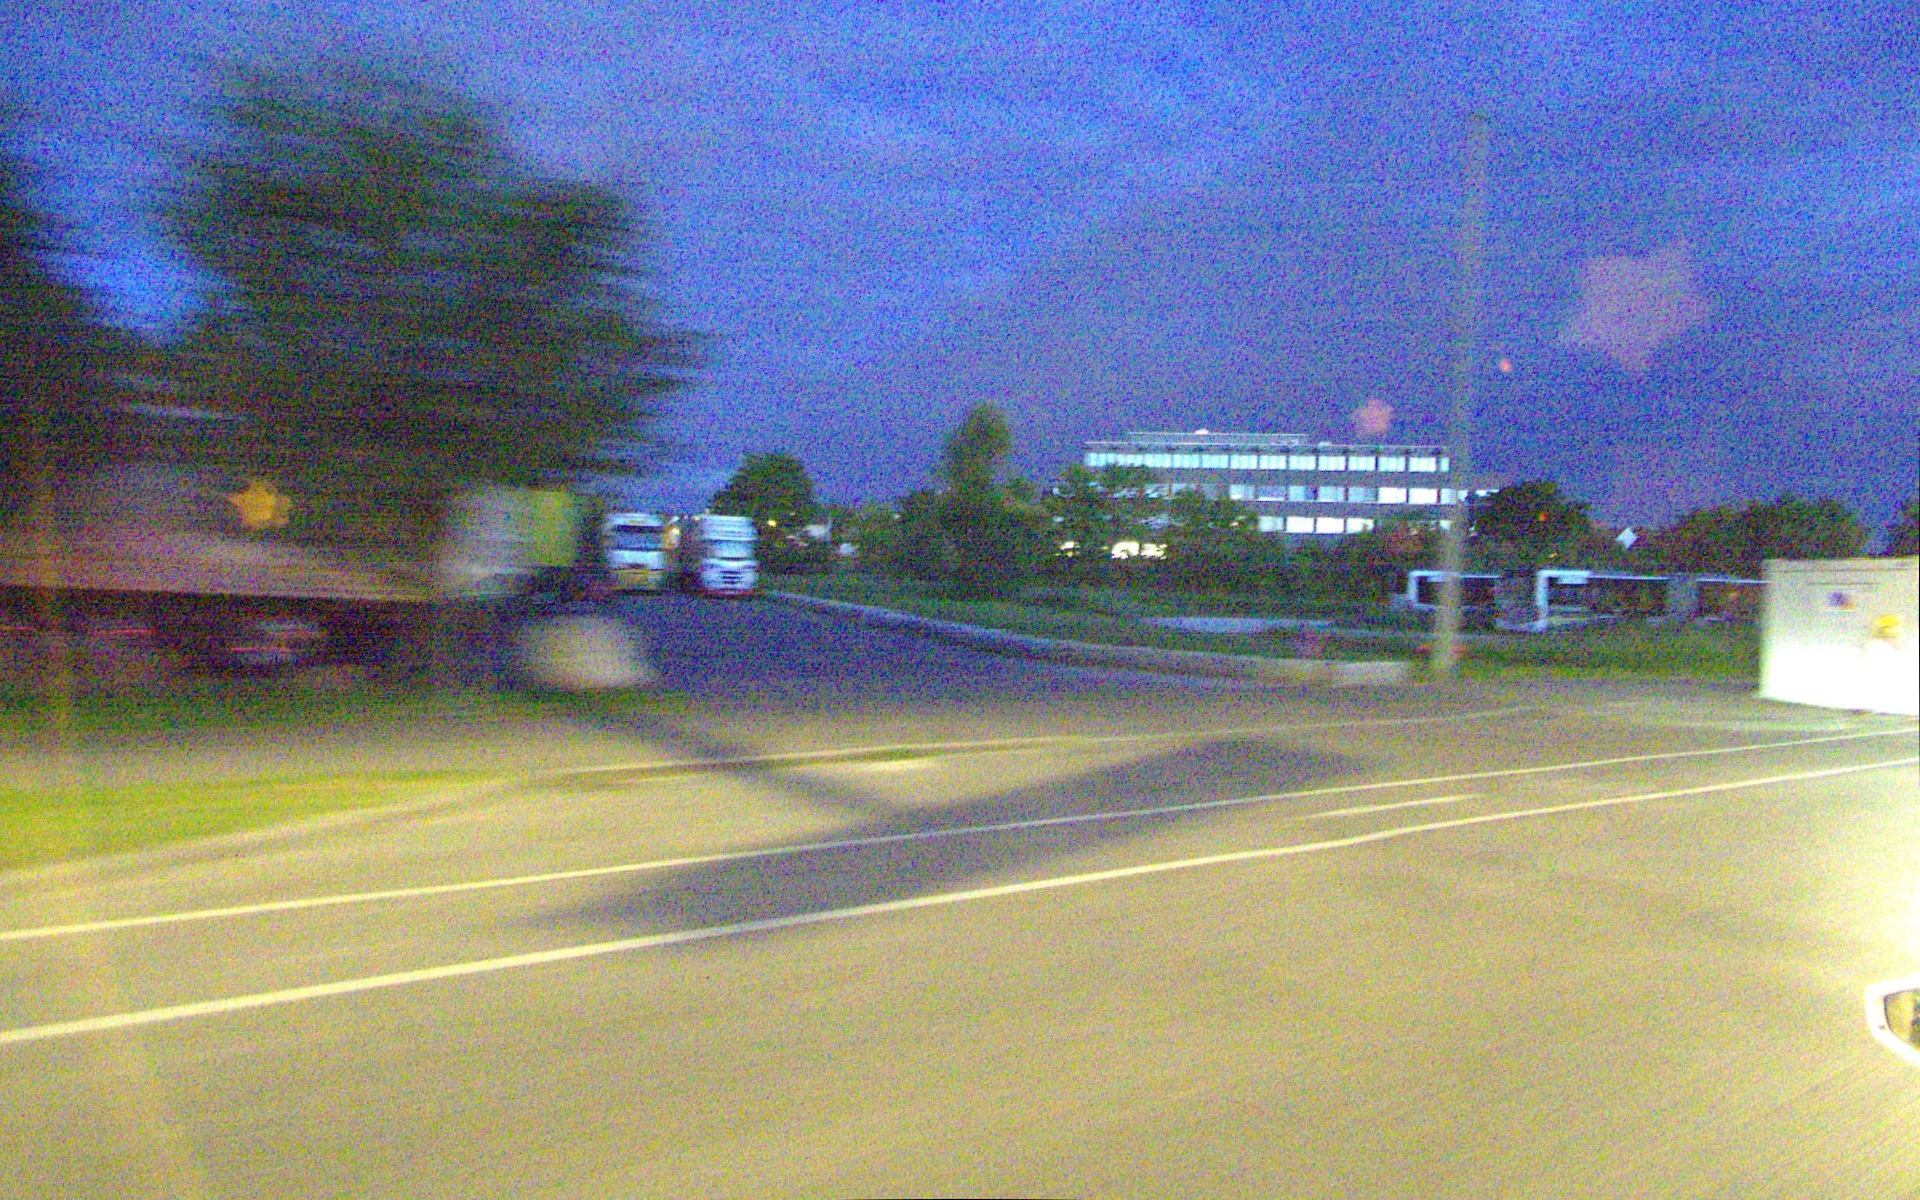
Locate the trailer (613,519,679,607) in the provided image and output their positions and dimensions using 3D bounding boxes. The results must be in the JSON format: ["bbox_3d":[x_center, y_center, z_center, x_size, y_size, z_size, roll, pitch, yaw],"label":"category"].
[{"bbox_3d":[-17.575,-1.968,55.717,2.927,4.292,11.151,1,1,-20],"label":"trailer"}]

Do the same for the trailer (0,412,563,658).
[{"bbox_3d":[-16.424,-1.336,20.908,14.730,4.416,3.063,2,2,-9],"label":"trailer"}]

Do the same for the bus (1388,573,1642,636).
[{"bbox_3d":[29.822,0.220,54.298,12.033,3.023,2.953,1,1,0],"label":"bus"}]

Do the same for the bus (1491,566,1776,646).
[{"bbox_3d":[30.363,0.296,45.283,12.456,3.247,3.014,1,1,-14],"label":"bus"}]

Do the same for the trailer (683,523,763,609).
[{"bbox_3d":[-13.599,-1.860,56.724,2.927,4.292,11.880,1,1,-20],"label":"trailer"}]

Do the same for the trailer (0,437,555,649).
[{"bbox_3d":[-18.102,-1.354,24.588,14.730,4.416,3.063,2,2,-9],"label":"trailer"}]

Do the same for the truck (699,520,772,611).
[{"bbox_3d":[-11.402,-1.679,50.738,2.927,4.292,4.712,1,1,-20],"label":"truck"}]

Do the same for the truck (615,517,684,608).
[{"bbox_3d":[-15.973,-1.872,51.385,2.927,4.292,6.473,1,1,-20],"label":"truck"}]

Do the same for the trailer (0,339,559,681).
[{"bbox_3d":[-13.343,-1.208,13.011,14.750,3.985,3.058,2,2,-14],"label":"trailer"}]

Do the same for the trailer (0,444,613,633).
[{"bbox_3d":[-17.894,-1.585,28.642,14.739,4.416,3.061,2,2,-12],"label":"trailer"}]
